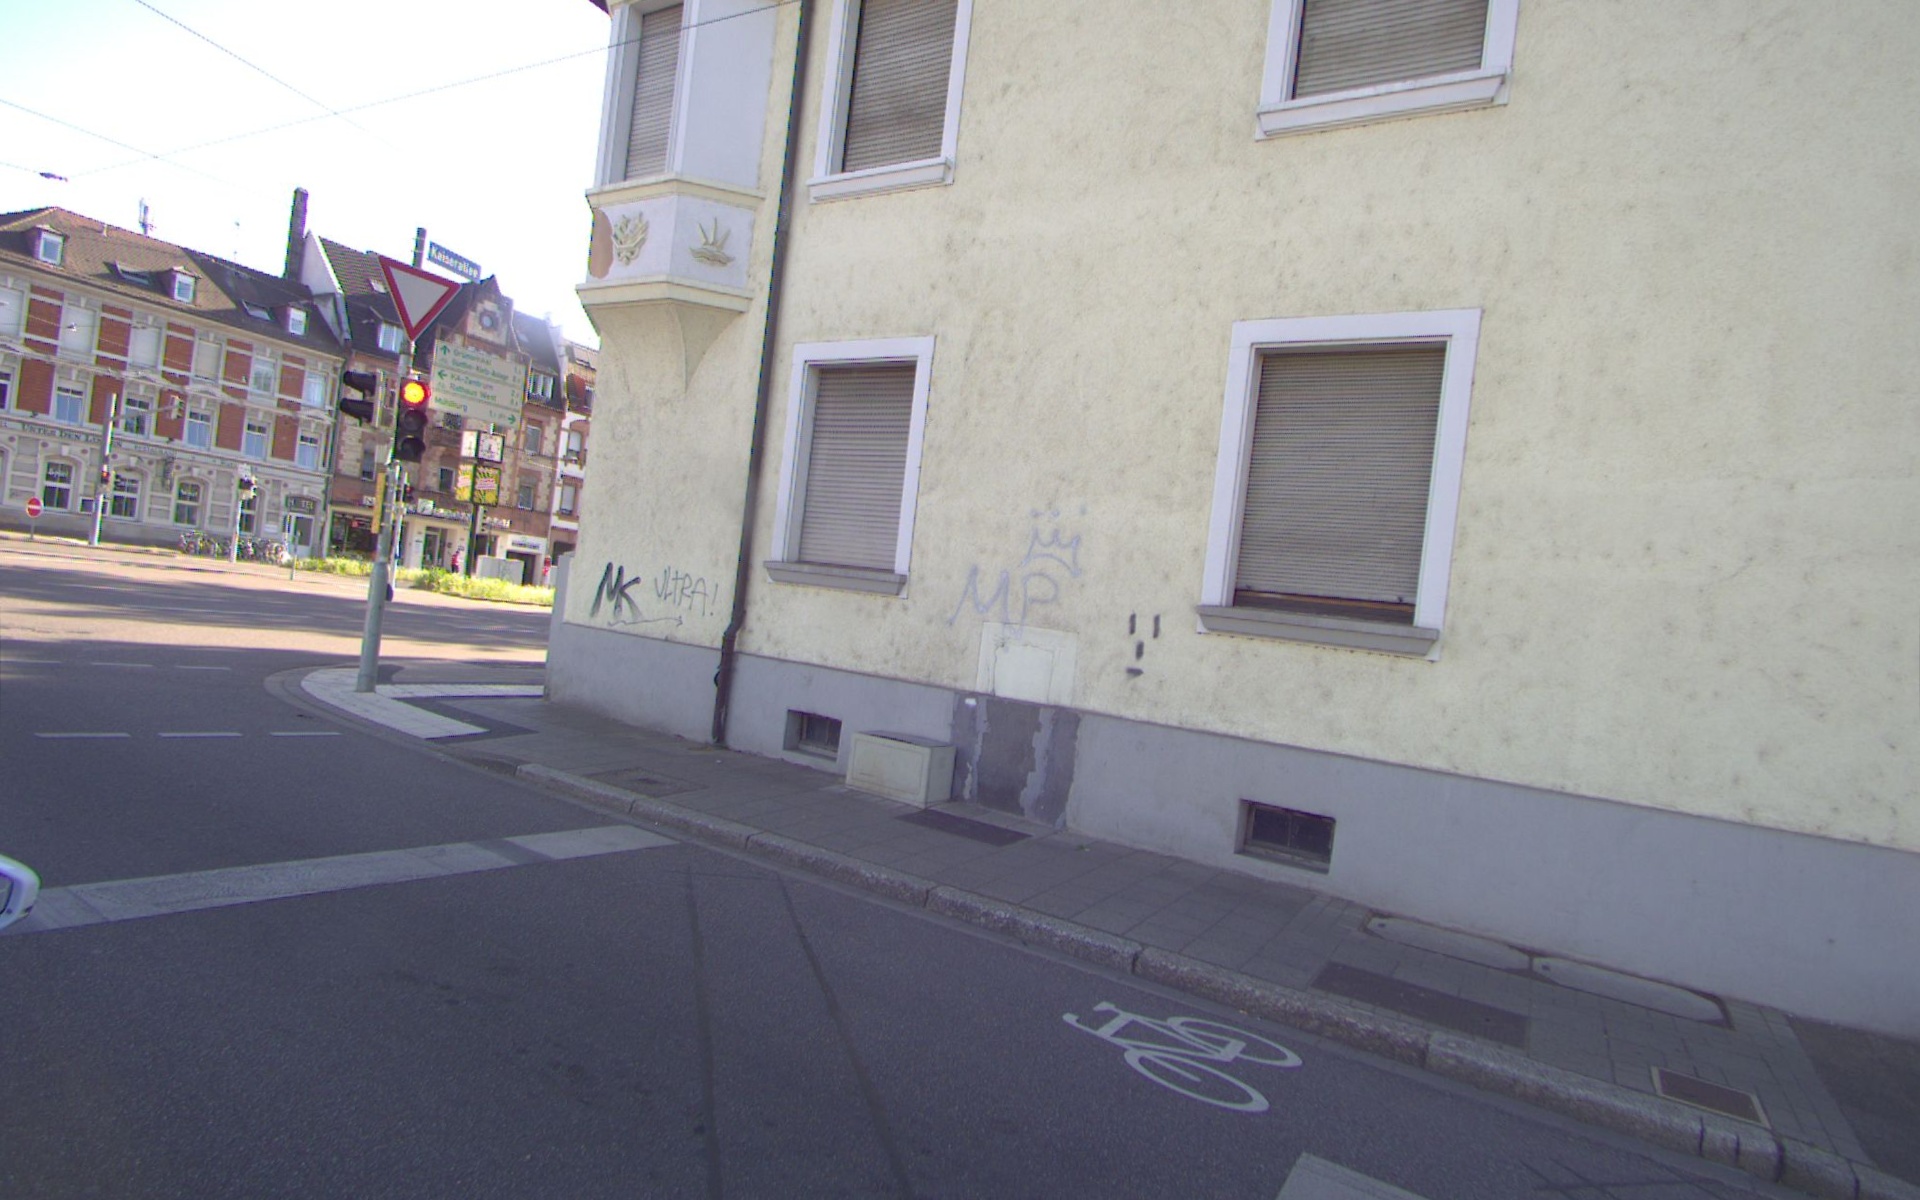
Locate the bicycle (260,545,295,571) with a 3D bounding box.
[{"bbox_3d":[-32.979,-2.012,48.588,1.614,1.064,0.606,7,0,27],"label":"bicycle"}]

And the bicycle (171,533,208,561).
[{"bbox_3d":[-34.943,-2.390,45.612,1.614,1.064,0.606,7,0,27],"label":"bicycle"}]

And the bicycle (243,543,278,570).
[{"bbox_3d":[-33.353,-2.087,47.951,1.614,1.064,0.606,7,0,27],"label":"bicycle"}]

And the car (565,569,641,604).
[{"bbox_3d":[-23.122,-0.858,65.309,1.966,1.674,4.378,7,-1,29],"label":"car"}]

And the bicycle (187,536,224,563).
[{"bbox_3d":[-34.644,-2.327,46.194,1.614,1.064,0.606,7,0,27],"label":"bicycle"}]

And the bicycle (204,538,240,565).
[{"bbox_3d":[-34.313,-2.261,46.770,1.614,1.064,0.606,7,0,27],"label":"bicycle"}]

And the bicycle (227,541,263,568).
[{"bbox_3d":[-33.647,-2.150,47.340,1.614,1.064,0.606,7,0,27],"label":"bicycle"}]

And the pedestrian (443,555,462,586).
[{"bbox_3d":[-29.957,-1.731,59.356,0.414,1.773,0.709,7,0,33],"label":"pedestrian"}]
